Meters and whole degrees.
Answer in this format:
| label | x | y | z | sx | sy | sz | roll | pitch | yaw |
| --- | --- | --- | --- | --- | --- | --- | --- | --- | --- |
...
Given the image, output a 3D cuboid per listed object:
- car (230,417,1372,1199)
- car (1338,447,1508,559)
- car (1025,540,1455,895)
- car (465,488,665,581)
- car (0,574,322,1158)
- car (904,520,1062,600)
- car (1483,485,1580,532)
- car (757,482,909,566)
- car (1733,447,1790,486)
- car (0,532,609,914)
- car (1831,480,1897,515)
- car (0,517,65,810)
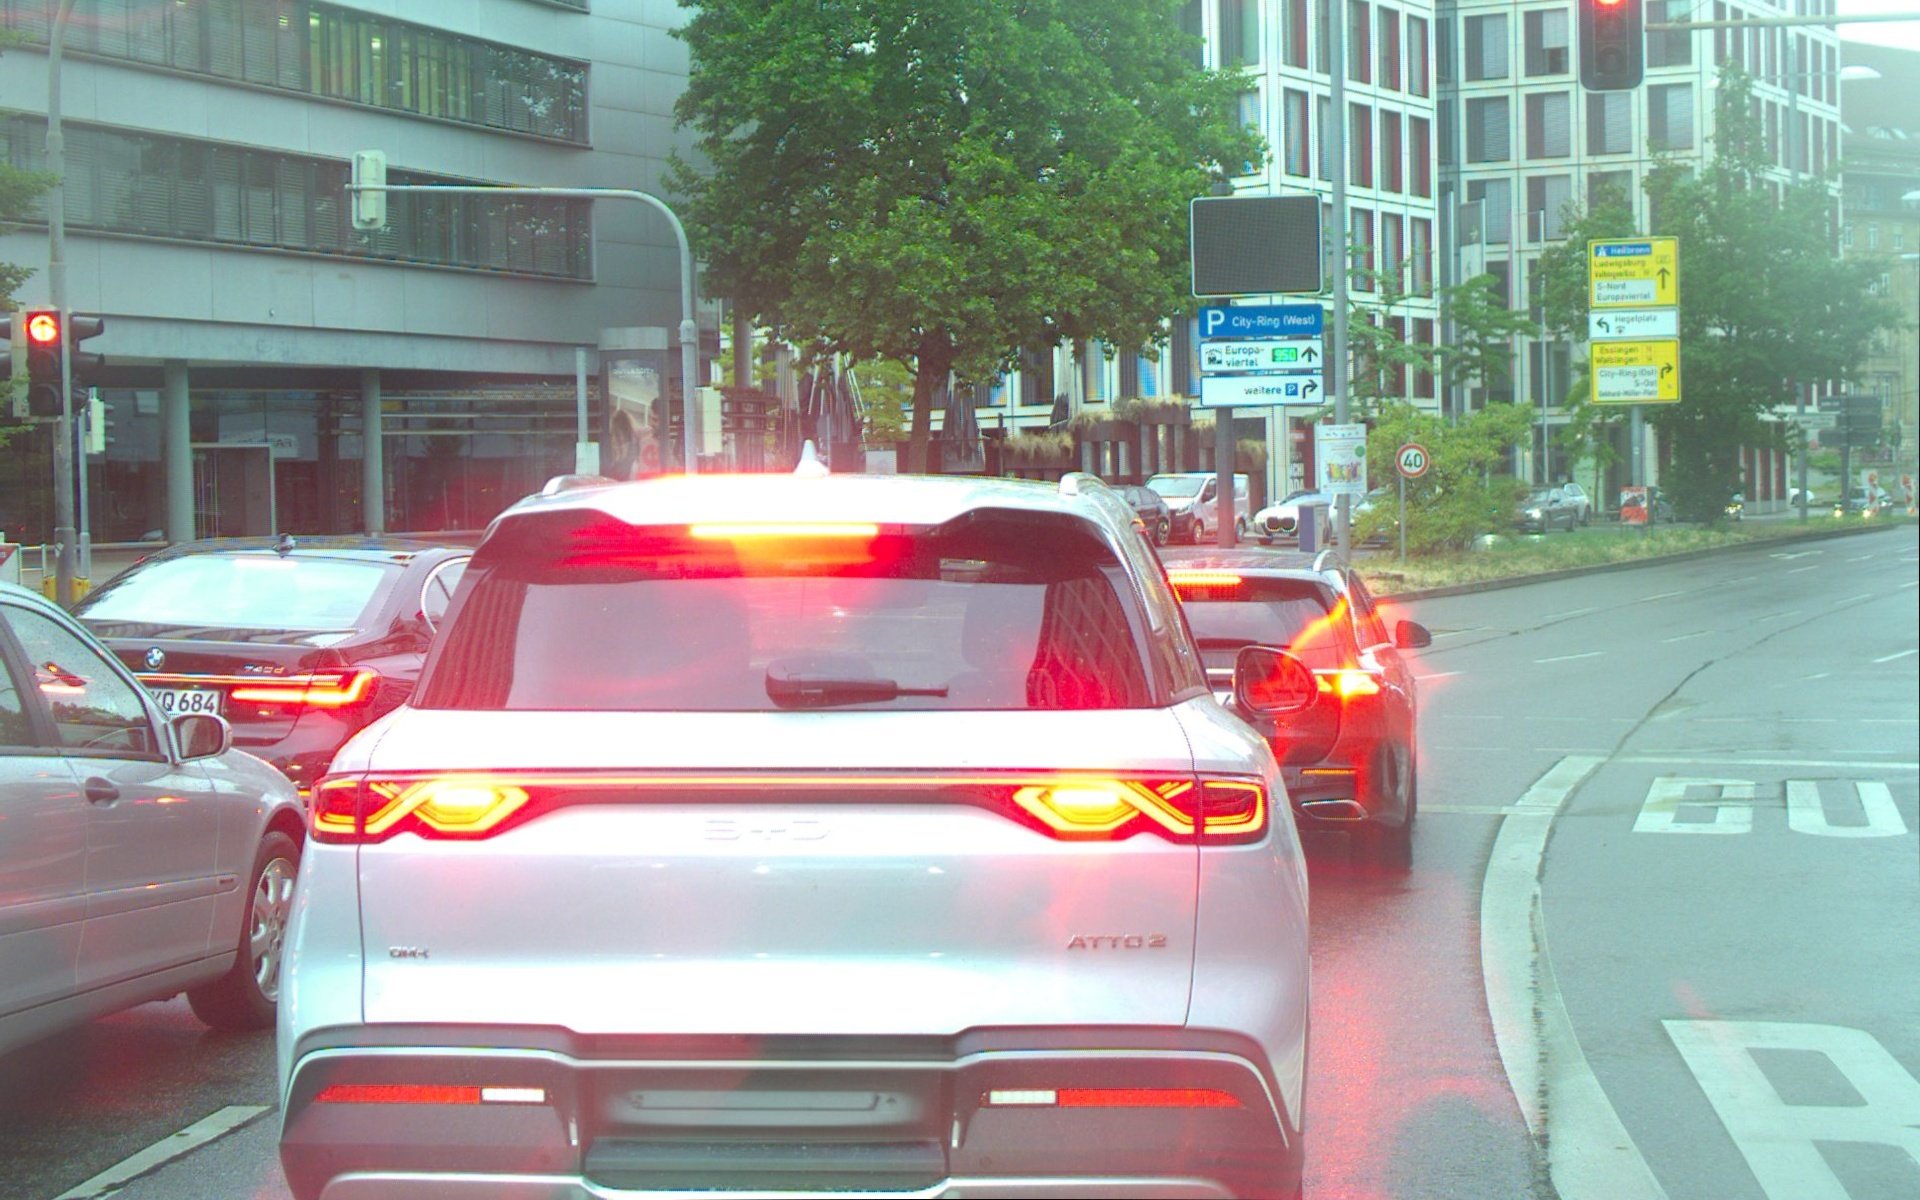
| label | x | y | z | sx | sy | sz | roll | pitch | yaw |
| --- | --- | --- | --- | --- | --- | --- | --- | --- | --- |
| car | -0.204 | 0.541 | 7.380 | 1.776 | 1.673 | 4.000 | 1 | 1 | 2 |
| car | 8.809 | -1.805 | 65.081 | 1.996 | 2.007 | 4.843 | 1 | 1 | 23 |
| car | 1.468 | 0.477 | 16.625 | 1.694 | 1.481 | 3.998 | 1 | 1 | 10 |
| car | -7.048 | -1.183 | 61.727 | 1.995 | 1.605 | 3.996 | 1 | 1 | 20 |
| car | -3.050 | 0.639 | 8.842 | 1.571 | 1.402 | 4.108 | 1 | 1 | 7 |
| car | 0.455 | -0.710 | 62.132 | 1.692 | 1.380 | 3.865 | 1 | 1 | 19 |
| car | 18.652 | -3.003 | 112.040 | 1.996 | 1.483 | 3.994 | 0 | 2 | 27 |
| car | -2.342 | -1.424 | 64.419 | 1.645 | 1.530 | 4.149 | 1 | 1 | 16 |
| car | 38.156 | -6.330 | 163.540 | 1.609 | 1.735 | 3.439 | 1 | 1 | 32 |
| car | -2.796 | 0.464 | 15.545 | 1.571 | 1.481 | 3.999 | 1 | 1 | 7 |
| car | 40.151 | -4.552 | 152.613 | 1.996 | 1.483 | 3.994 | 0 | 2 | 27 |
| car | -5.881 | 0.321 | 16.264 | 1.707 | 1.481 | 3.998 | 1 | 1 | 9 |
